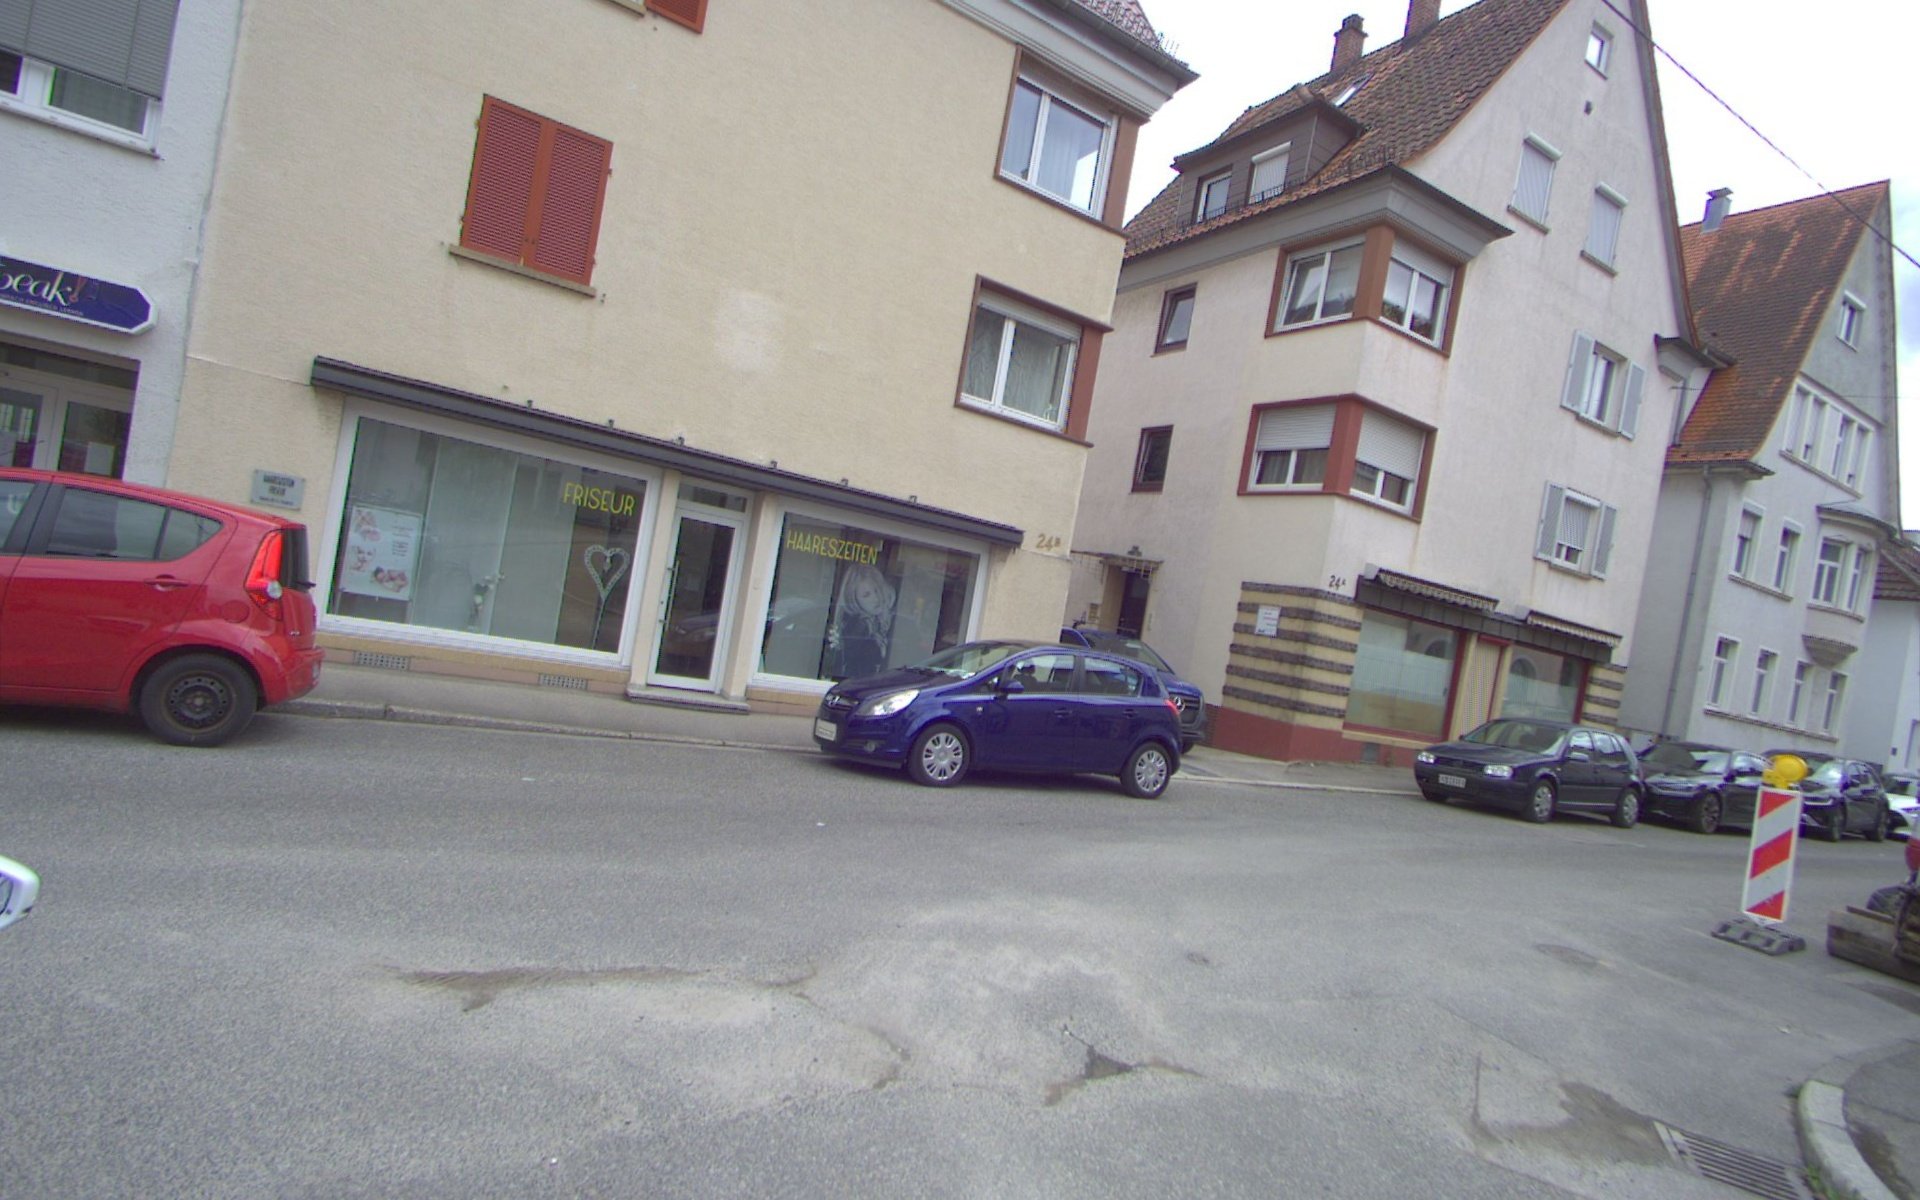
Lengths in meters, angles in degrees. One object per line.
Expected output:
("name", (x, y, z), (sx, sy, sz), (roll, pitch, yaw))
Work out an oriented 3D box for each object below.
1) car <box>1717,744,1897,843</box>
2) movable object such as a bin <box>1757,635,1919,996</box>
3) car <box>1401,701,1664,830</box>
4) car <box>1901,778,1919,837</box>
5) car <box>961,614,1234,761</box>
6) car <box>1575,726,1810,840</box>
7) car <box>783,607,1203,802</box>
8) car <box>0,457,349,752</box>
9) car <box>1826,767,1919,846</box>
("car", (17.095, 3.911, 20.248), (4.068, 1.536, 1.682), (10, -3, -35))
("movable object such as a bin", (9.009, 1.930, 8.725), (4.630, 2.531, 1.557), (9, 2, -33))
("car", (8.660, 2.510, 15.128), (3.964, 1.419, 1.683), (10, -2, -32))
("car", (25.832, 5.489, 25.572), (3.674, 1.405, 1.686), (9, -3, -29))
("car", (2.124, 1.368, 17.164), (1.932, 1.886, 4.869), (9, -3, -29))
("car", (12.754, 3.193, 17.478), (4.060, 1.466, 1.685), (9, -3, -29))
("car", (0.394, 1.088, 10.293), (3.879, 1.466, 1.685), (9, -3, -30))
("car", (-6.133, -0.089, 6.353), (3.656, 1.574, 1.685), (9, -2, -29))
("car", (21.584, 4.739, 22.832), (3.761, 1.405, 1.685), (9, -3, -29))
